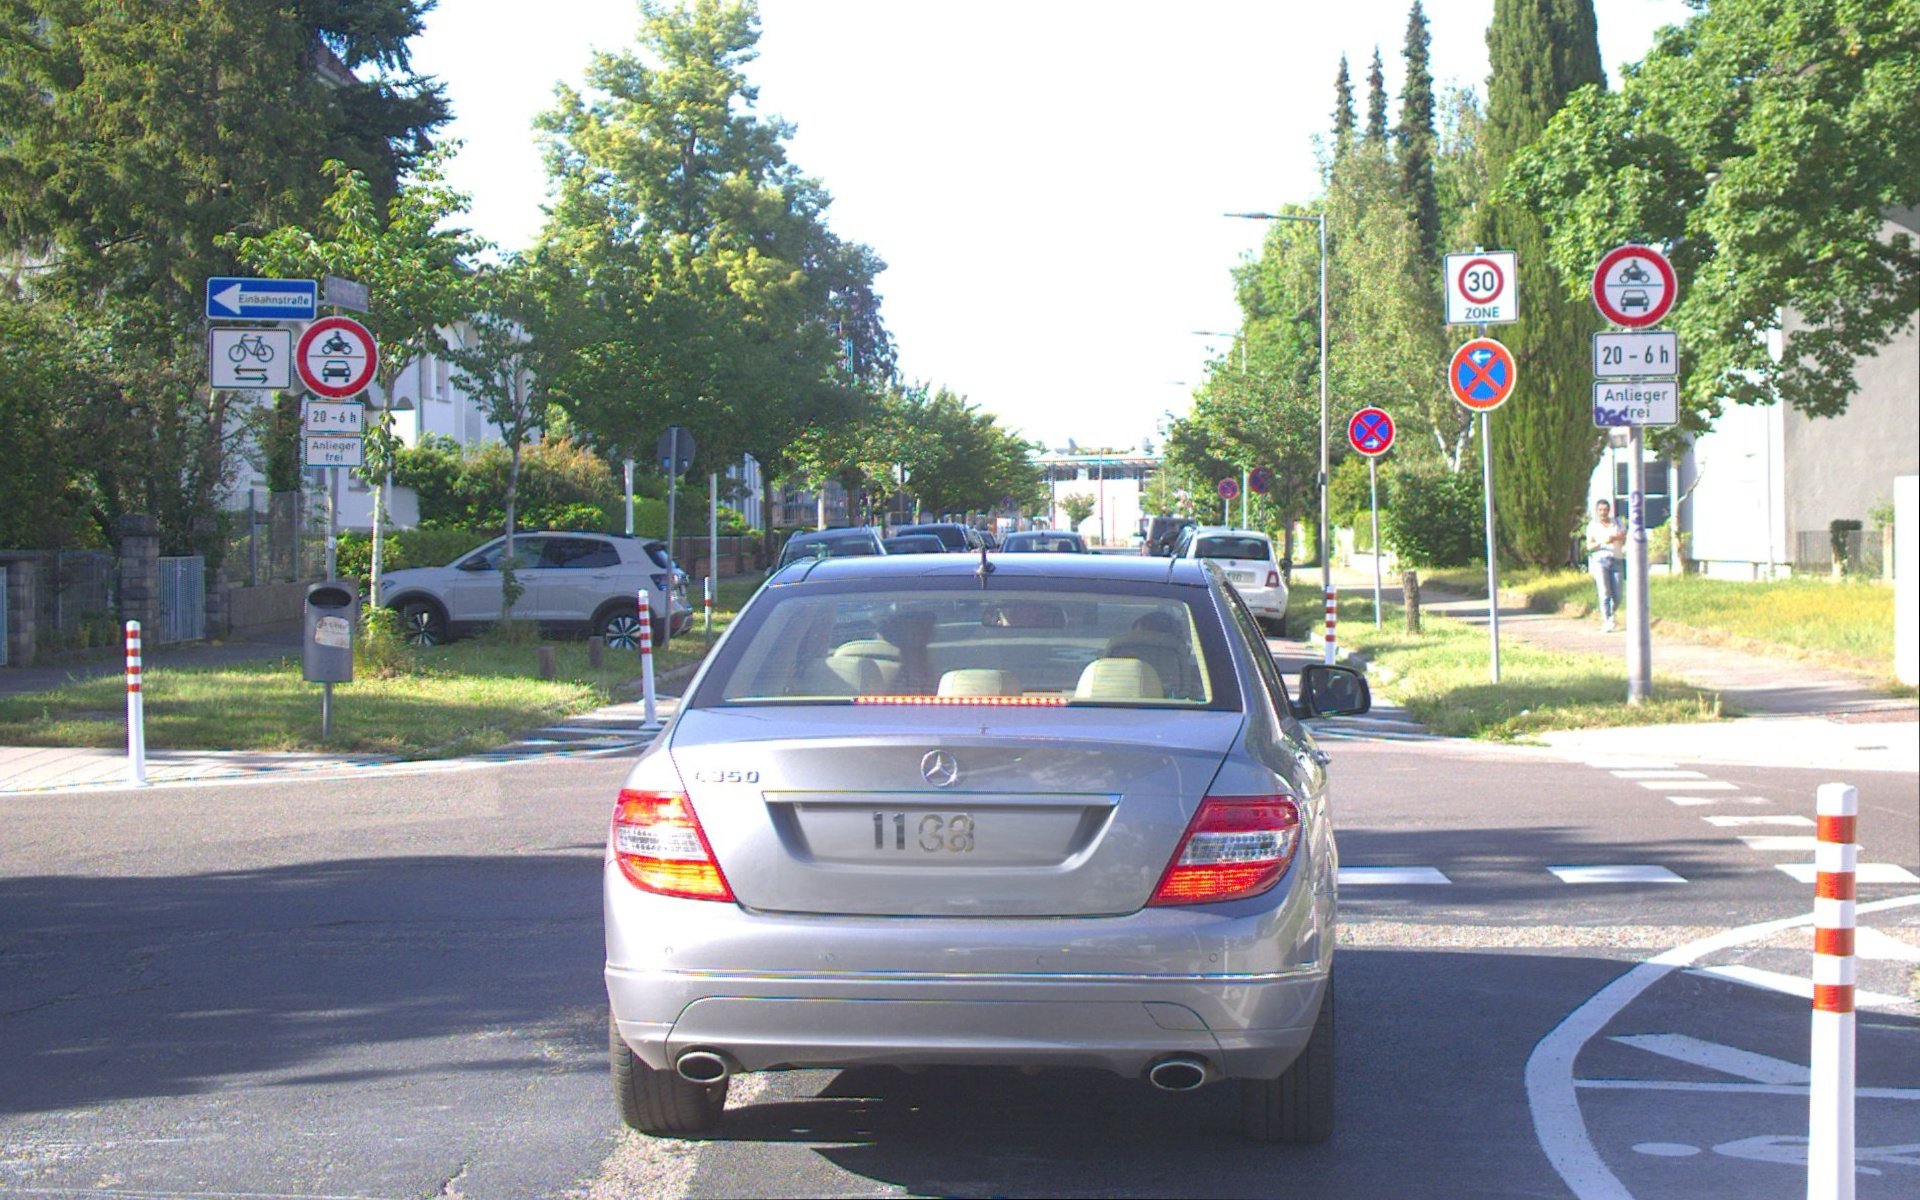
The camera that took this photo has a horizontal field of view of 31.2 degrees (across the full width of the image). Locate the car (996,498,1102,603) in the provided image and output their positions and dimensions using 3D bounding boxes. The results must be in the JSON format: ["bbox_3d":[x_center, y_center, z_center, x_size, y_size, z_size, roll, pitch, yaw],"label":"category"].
[{"bbox_3d":[1.403,-0.817,55.228,1.597,1.604,3.644,-1,2,1],"label":"car"}]

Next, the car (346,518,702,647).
[{"bbox_3d":[-5.376,-0.237,42.776,4.192,1.558,1.842,0,1,0],"label":"car"}]

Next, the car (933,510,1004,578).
[{"bbox_3d":[0.232,-1.498,90.709,1.734,1.604,3.935,-4,2,1],"label":"car"}]

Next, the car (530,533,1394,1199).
[{"bbox_3d":[0.123,0.549,9.307,1.836,1.436,4.000,0,1,4],"label":"car"}]

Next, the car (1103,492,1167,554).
[{"bbox_3d":[5.366,-2.376,105.545,1.855,1.834,4.000,-1,2,2],"label":"car"}]

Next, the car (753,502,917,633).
[{"bbox_3d":[-1.687,-0.486,47.748,1.993,1.604,4.000,-4,2,1],"label":"car"}]

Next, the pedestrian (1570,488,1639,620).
[{"bbox_3d":[7.968,-0.575,42.507,0.766,1.605,0.834,-1,1,7],"label":"pedestrian"}]

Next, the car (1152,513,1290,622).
[{"bbox_3d":[3.742,-0.505,49.803,1.733,1.474,3.725,-1,2,1],"label":"car"}]

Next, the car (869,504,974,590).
[{"bbox_3d":[-0.769,-1.124,71.327,1.993,1.604,4.000,-4,2,1],"label":"car"}]

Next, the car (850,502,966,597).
[{"bbox_3d":[-0.956,-0.988,65.537,1.993,1.604,4.000,-4,2,1],"label":"car"}]

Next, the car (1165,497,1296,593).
[{"bbox_3d":[4.733,-0.996,60.565,1.993,1.604,4.000,-1,2,1],"label":"car"}]
